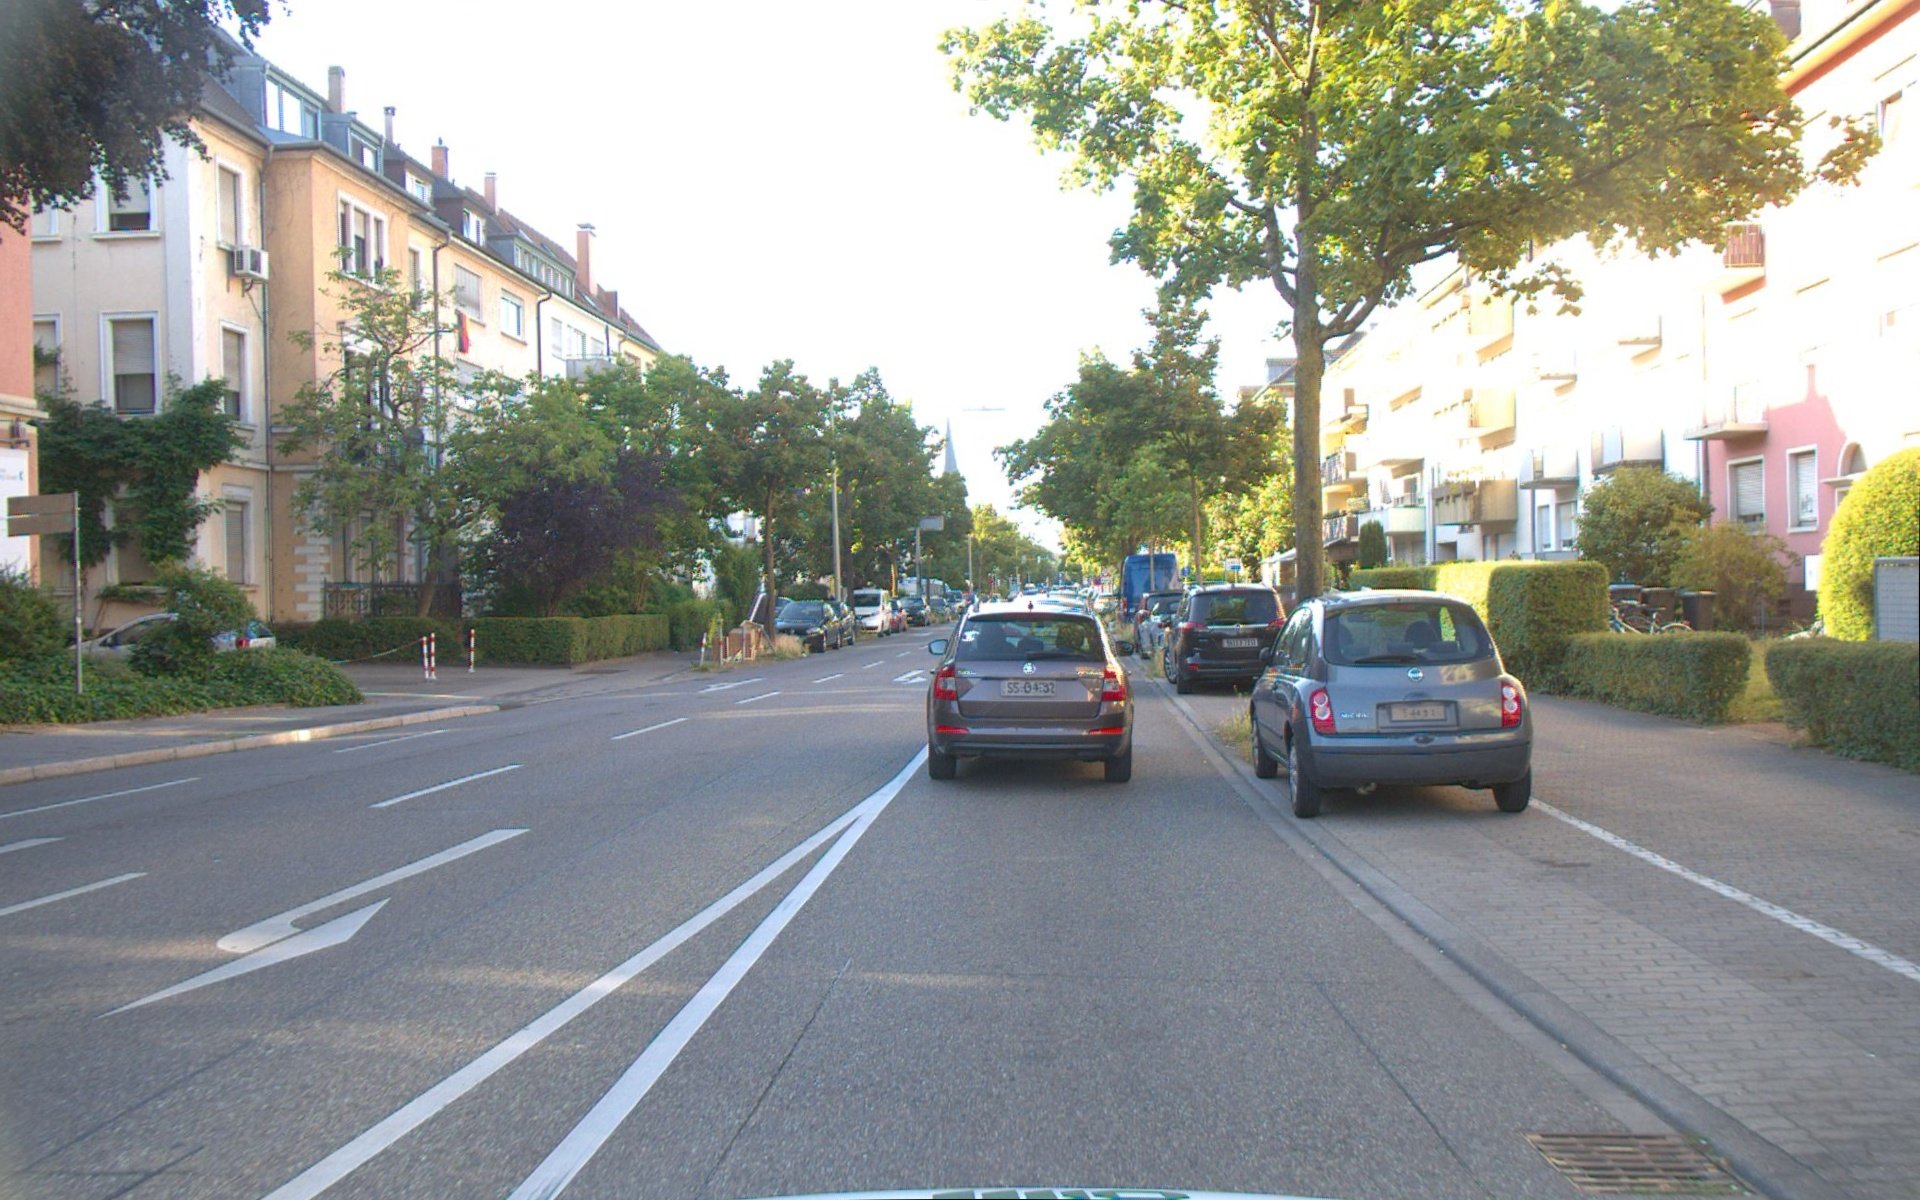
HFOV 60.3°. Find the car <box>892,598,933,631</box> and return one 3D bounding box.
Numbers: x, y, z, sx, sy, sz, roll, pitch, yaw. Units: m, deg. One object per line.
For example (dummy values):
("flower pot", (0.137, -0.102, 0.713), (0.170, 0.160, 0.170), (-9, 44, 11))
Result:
("car", (-2.425, 0.728, 85.053), (1.681, 1.523, 4.250), (-1, 1, 4))

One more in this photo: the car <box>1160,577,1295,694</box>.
("car", (4.179, 0.490, 26.365), (1.696, 1.680, 4.293), (-1, 1, 4))

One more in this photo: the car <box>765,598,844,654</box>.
("car", (-4.692, 0.759, 50.351), (1.713, 1.529, 4.199), (-1, 1, 4))

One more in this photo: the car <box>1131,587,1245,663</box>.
("car", (5.013, 0.504, 36.940), (1.881, 1.512, 4.746), (-1, 1, 0))

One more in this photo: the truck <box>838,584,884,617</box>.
("truck", (-6.645, 0.011, 111.402), (2.852, 2.130, 1.547), (-1, 1, 3))

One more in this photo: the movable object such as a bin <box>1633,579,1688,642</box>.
("movable object such as a bin", (11.716, 0.171, 27.679), (0.598, 1.020, 0.797), (-1, 1, 3))

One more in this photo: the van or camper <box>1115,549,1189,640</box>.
("van or camper", (6.132, -0.150, 53.387), (2.024, 2.722, 5.992), (-1, 0, 4))

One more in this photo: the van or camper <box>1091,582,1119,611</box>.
("van or camper", (10.736, -0.291, 122.824), (1.952, 2.049, 4.002), (-1, 1, 4))

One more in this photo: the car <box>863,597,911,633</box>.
("car", (-3.213, 0.649, 73.067), (1.681, 1.445, 3.788), (-1, 1, 4))

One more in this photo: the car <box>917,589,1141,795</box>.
("car", (0.710, 0.699, 14.684), (1.693, 1.520, 3.953), (-1, 1, 5))

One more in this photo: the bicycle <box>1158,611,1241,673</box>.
("bicycle", (4.424, 0.771, 30.623), (1.449, 1.077, 0.411), (-1, 0, -9))

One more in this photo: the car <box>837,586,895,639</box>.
("car", (-3.711, 0.466, 65.929), (1.732, 1.952, 4.462), (-1, 1, 4))

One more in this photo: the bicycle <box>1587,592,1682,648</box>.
("bicycle", (10.804, 0.322, 26.508), (1.341, 0.868, 0.369), (-1, 0, 5))

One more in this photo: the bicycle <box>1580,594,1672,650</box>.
("bicycle", (10.845, 0.356, 26.963), (1.331, 0.868, 0.365), (-1, 0, 4))

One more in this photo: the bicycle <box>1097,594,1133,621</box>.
("bicycle", (7.813, 0.386, 83.252), (1.635, 1.247, 0.636), (-3, 0, 17))

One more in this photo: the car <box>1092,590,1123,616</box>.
("car", (8.805, 0.148, 98.696), (1.782, 1.438, 4.114), (-1, 1, 6))

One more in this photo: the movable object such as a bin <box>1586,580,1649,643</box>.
("movable object such as a bin", (11.005, 0.187, 27.713), (0.760, 1.020, 0.797), (-1, 1, 3))

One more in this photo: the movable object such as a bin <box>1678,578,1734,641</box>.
("movable object such as a bin", (12.463, 0.155, 27.652), (0.598, 1.020, 0.797), (-1, 1, 3))

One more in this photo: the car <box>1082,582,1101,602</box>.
("car", (12.600, -0.756, 158.587), (1.693, 1.846, 3.952), (-1, 1, 2))

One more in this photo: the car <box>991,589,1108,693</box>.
("car", (1.405, 0.612, 27.210), (1.694, 1.520, 3.951), (-1, 1, 0))

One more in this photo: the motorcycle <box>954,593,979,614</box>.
("motorcycle", (0.500, 0.244, 124.508), (0.759, 1.538, 2.002), (-2, 1, -38))

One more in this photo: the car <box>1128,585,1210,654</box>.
("car", (5.343, 0.494, 42.696), (1.736, 1.671, 3.758), (-1, 0, 2))

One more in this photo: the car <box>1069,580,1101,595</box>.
("car", (15.338, -1.562, 202.553), (1.846, 1.788, 4.160), (-1, 1, 38))

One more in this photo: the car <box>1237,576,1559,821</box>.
("car", (3.175, 0.623, 12.683), (1.696, 1.578, 3.648), (-1, 1, 4))

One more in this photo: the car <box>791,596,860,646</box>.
("car", (-4.446, 0.687, 55.293), (1.713, 1.529, 3.980), (-1, 1, 4))

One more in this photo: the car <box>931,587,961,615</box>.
("car", (-0.899, 0.049, 109.574), (1.713, 1.771, 3.593), (-1, 1, 4))

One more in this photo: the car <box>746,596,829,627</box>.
("car", (-8.579, 0.557, 82.370), (3.905, 1.505, 2.000), (0, 1, 0))

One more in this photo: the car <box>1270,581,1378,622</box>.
("car", (14.442, 0.051, 65.742), (3.905, 1.487, 1.825), (-1, 1, 0))

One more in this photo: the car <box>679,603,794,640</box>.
("car", (-9.223, 0.875, 68.230), (4.624, 1.386, 1.996), (-1, 1, -9))

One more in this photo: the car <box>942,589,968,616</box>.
("car", (-0.322, 0.174, 114.216), (1.475, 1.788, 3.695), (-1, 1, 4))

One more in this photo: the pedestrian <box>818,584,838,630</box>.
("pedestrian", (-5.986, 0.323, 75.123), (0.751, 2.049, 0.976), (-1, 0, 3))

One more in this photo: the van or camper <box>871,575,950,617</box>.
("van or camper", (-4.832, -0.377, 161.162), (7.481, 3.942, 2.001), (-1, 0, 2))

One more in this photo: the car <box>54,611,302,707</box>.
("car", (-13.644, 1.005, 29.004), (3.425, 1.512, 1.816), (-1, 1, 0))
